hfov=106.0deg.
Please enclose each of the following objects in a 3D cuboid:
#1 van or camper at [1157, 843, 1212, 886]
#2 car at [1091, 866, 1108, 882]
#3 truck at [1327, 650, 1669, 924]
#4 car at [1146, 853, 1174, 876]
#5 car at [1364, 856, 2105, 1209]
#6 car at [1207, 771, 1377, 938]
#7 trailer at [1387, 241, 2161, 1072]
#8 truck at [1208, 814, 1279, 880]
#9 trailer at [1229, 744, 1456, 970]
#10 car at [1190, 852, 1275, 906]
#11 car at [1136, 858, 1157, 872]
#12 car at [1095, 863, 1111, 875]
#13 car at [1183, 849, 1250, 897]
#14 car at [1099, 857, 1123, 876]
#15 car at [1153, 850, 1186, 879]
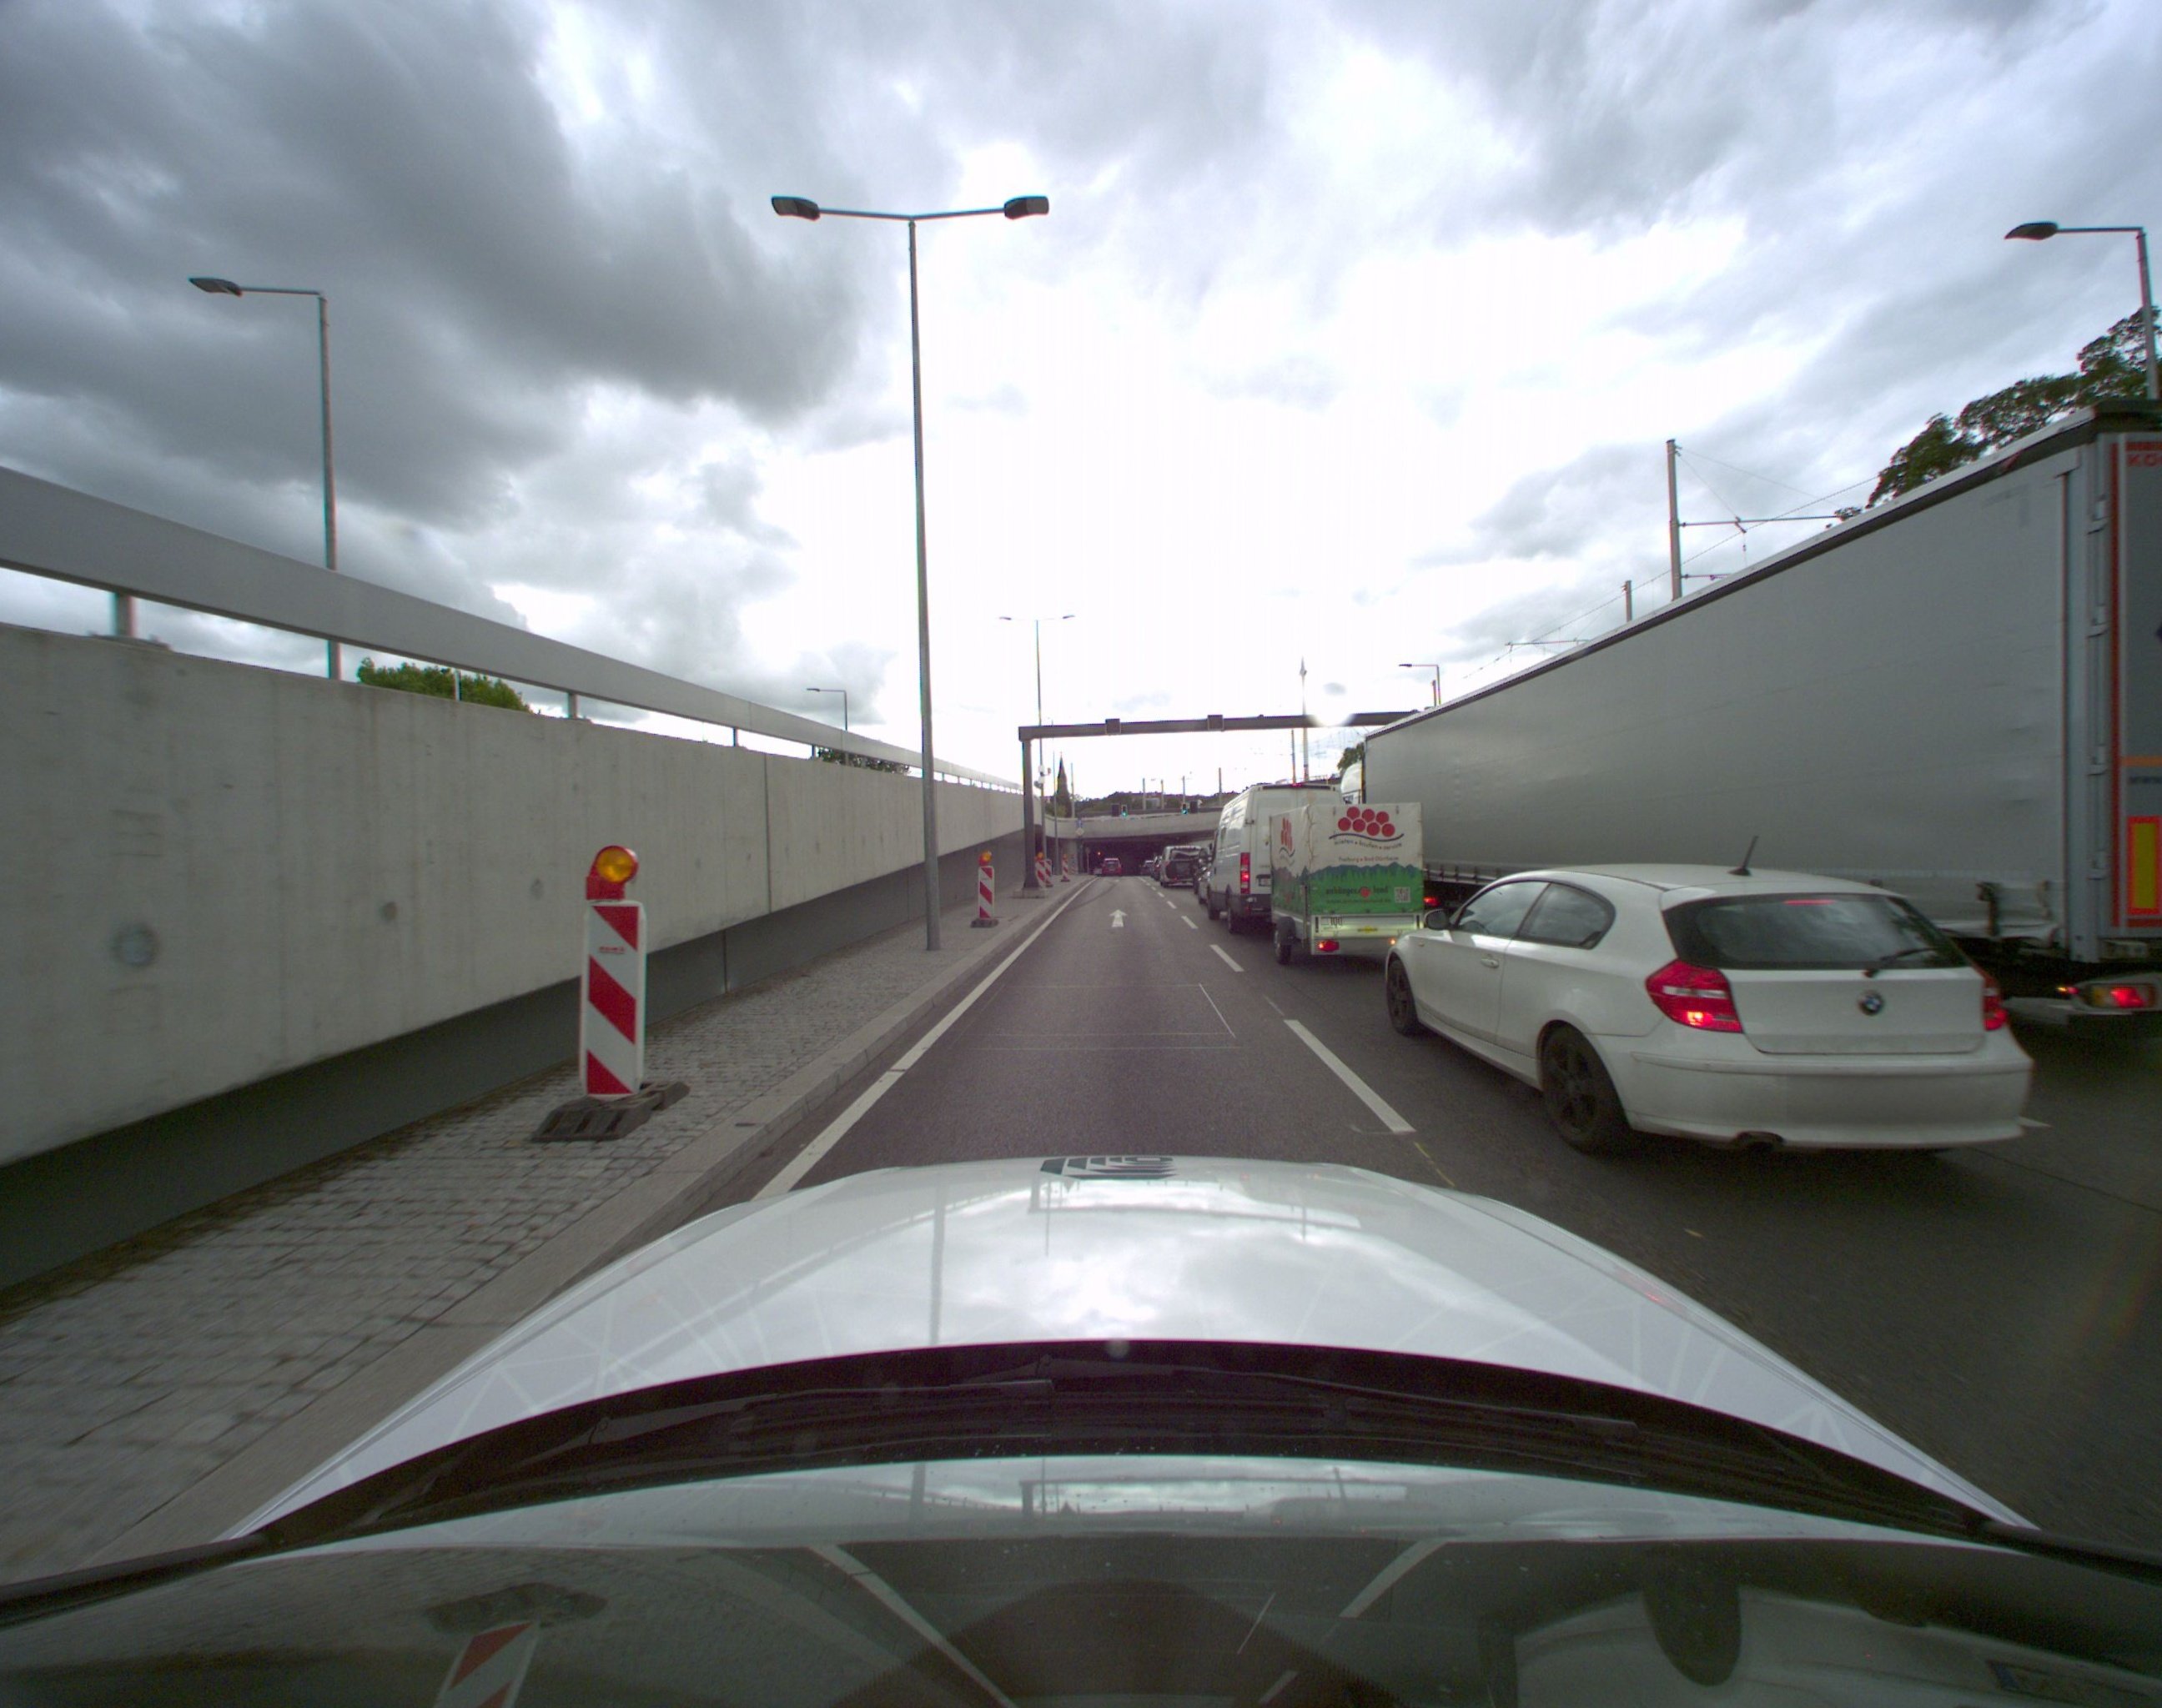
[{"bbox_3d":[4.657,0.452,37.380,1.986,1.845,5.509,0,0,1],"label":"van or camper"},{"bbox_3d":[2.372,2.603,107.713,1.989,2.013,3.996,-1,0,-3],"label":"car"},{"bbox_3d":[8.187,-1.138,17.519,3.790,4.631,7.446,0,0,2],"label":"truck"},{"bbox_3d":[5.766,0.791,59.790,1.811,1.580,4.002,2,-1,3],"label":"car"},{"bbox_3d":[3.380,0.718,5.466,1.709,1.398,4.351,0,0,4],"label":"car"},{"bbox_3d":[3.834,0.030,16.002,2.049,2.628,5.947,-1,-1,3],"label":"car"},{"bbox_3d":[7.913,-1.120,10.551,3.790,4.631,12.121,0,0,2],"label":"trailer"},{"bbox_3d":[8.666,-0.300,44.229,2.638,3.185,7.432,-2,-1,3],"label":"truck"},{"bbox_3d":[3.565,0.055,12.168,2.094,2.639,4.815,2,-1,4],"label":"trailer"},{"bbox_3d":[4.234,0.682,23.357,1.757,1.383,4.040,-2,-1,1],"label":"car"},{"bbox_3d":[5.944,1.018,74.619,1.658,1.247,3.567,-2,-2,1],"label":"car"},{"bbox_3d":[3.260,2.215,121.584,1.989,1.773,3.996,-1,0,-3],"label":"car"},{"bbox_3d":[4.695,0.616,28.708,1.677,1.545,3.690,0,0,-2],"label":"car"},{"bbox_3d":[2.492,1.055,68.638,1.657,1.488,3.561,-1,-2,-4],"label":"car"},{"bbox_3d":[5.297,0.596,49.318,1.811,1.684,4.004,0,1,4],"label":"car"}]
